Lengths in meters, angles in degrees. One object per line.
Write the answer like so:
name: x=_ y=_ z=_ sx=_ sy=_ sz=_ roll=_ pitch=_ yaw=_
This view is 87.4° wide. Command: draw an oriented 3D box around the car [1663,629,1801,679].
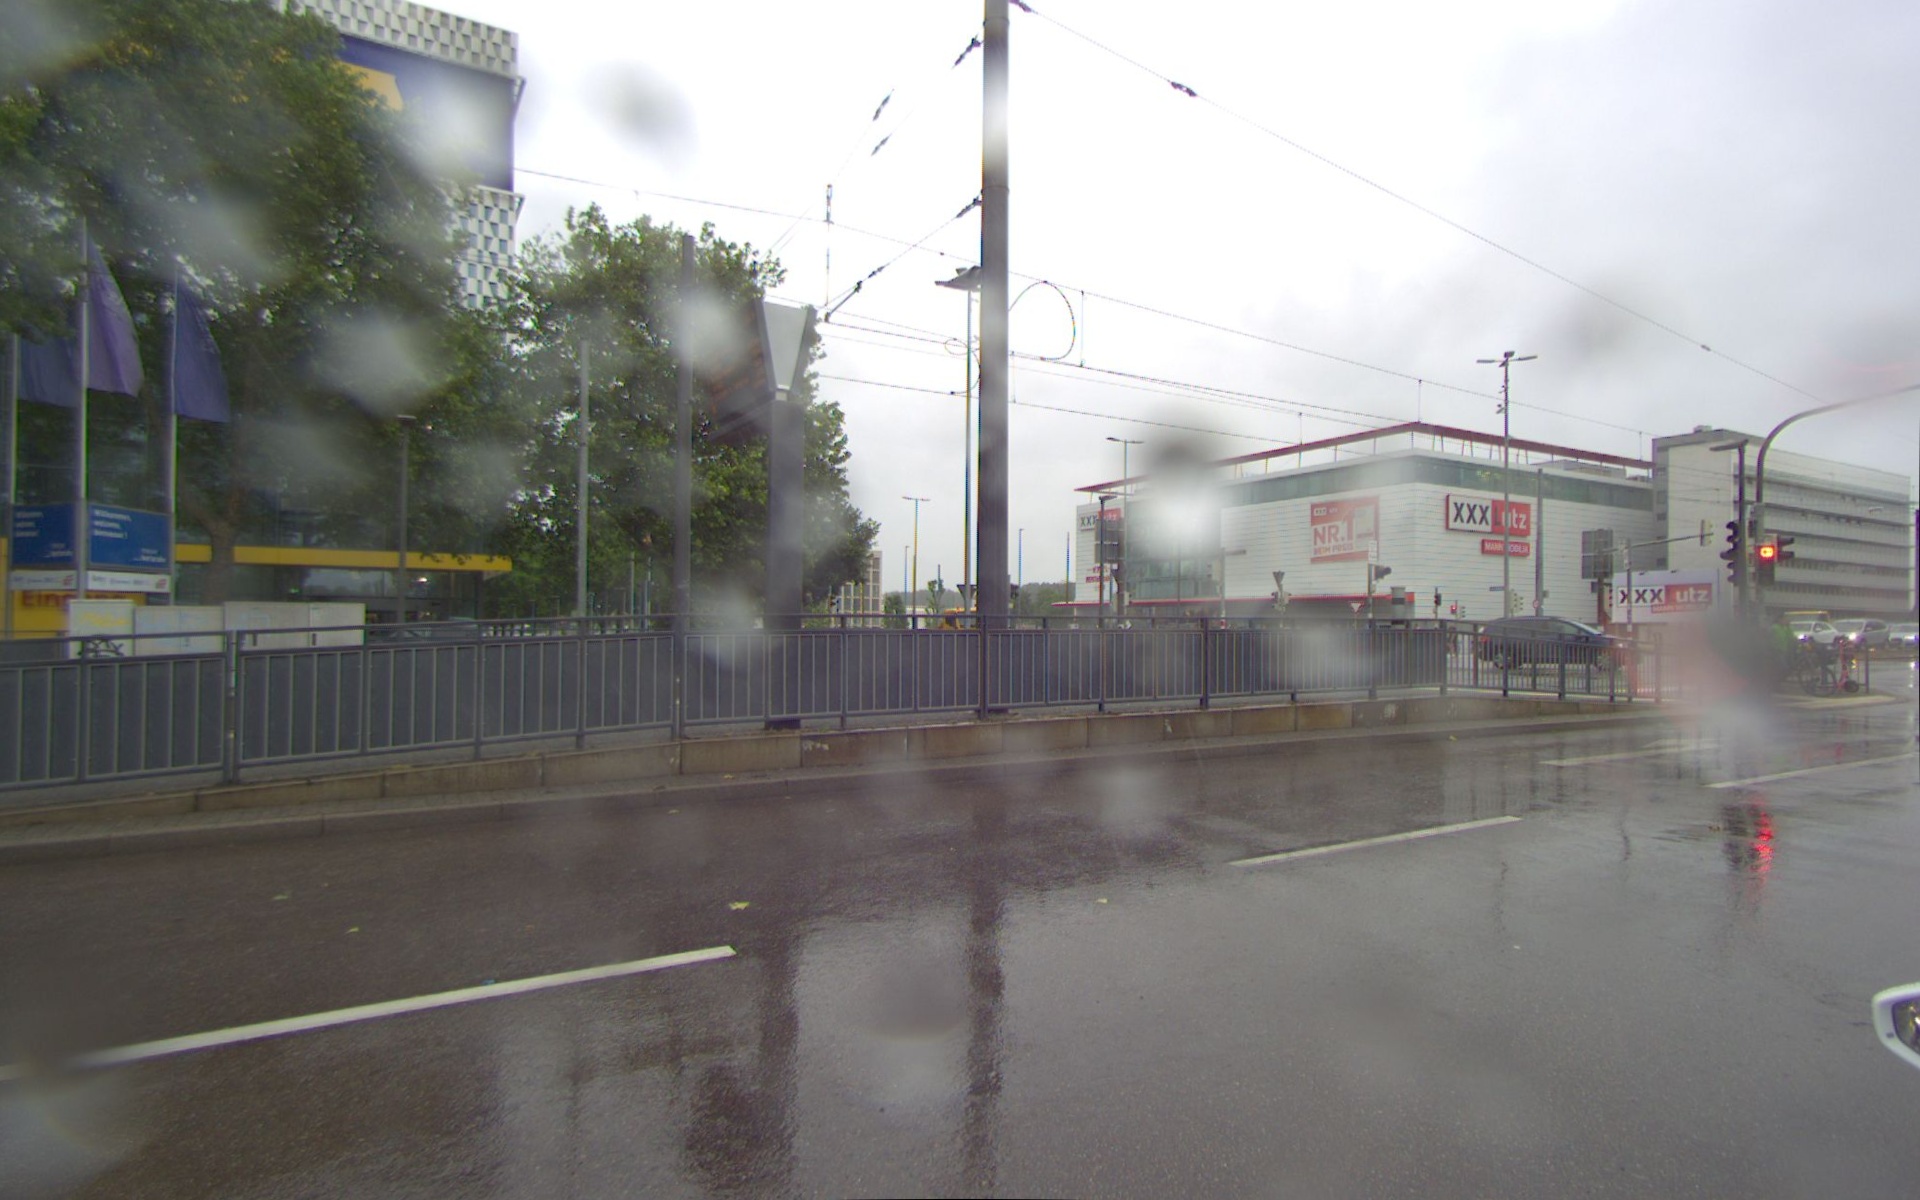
car: x=25.030 y=1.726 z=32.690 sx=3.293 sy=1.441 sz=1.466 roll=2 pitch=0 yaw=26

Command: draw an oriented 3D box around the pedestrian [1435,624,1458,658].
pedestrian: x=24.303 y=2.034 z=50.155 sx=0.914 sy=1.654 sz=0.694 roll=2 pitch=0 yaw=-42

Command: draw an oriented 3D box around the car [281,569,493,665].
car: x=-13.253 y=0.392 z=23.314 sx=3.968 sy=2.040 sz=1.977 roll=2 pitch=0 yaw=-40

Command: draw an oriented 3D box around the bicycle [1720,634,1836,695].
bicycle: x=16.695 y=1.294 z=20.539 sx=0.409 sy=1.048 sz=1.742 roll=2 pitch=3 yaw=-31

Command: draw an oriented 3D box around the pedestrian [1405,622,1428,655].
pedestrian: x=23.300 y=1.946 z=51.258 sx=0.914 sy=1.654 sz=0.694 roll=2 pitch=0 yaw=-42

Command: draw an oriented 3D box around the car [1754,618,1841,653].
car: x=39.761 y=1.691 z=47.683 sx=3.823 sy=1.512 sz=1.693 roll=2 pitch=0 yaw=-25

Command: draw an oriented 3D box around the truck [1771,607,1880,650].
truck: x=49.389 y=1.645 z=57.259 sx=7.542 sy=2.309 sz=2.341 roll=2 pitch=0 yaw=-30

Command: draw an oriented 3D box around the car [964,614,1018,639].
car: x=2.172 y=1.845 z=70.211 sx=3.723 sy=1.645 sz=2.001 roll=2 pitch=0 yaw=2

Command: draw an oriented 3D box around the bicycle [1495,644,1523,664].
bicycle: x=28.439 y=2.792 z=52.029 sx=1.688 sy=1.000 sz=0.448 roll=2 pitch=0 yaw=-30

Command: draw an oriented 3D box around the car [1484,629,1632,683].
car: x=18.684 y=1.703 z=31.461 sx=3.807 sy=1.441 sz=1.503 roll=2 pitch=0 yaw=40

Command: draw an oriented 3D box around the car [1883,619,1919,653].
car: x=51.414 y=1.964 z=53.581 sx=3.947 sy=1.722 sz=1.886 roll=2 pitch=0 yaw=-26

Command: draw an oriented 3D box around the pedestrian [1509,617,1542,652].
pedestrian: x=27.358 y=1.649 z=48.587 sx=0.996 sy=1.654 sz=0.917 roll=2 pitch=0 yaw=-19

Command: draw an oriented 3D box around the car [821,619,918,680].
car: x=-3.252 y=1.749 z=36.955 sx=1.961 sy=2.040 sz=3.999 roll=2 pitch=0 yaw=21

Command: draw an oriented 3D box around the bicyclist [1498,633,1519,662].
bicyclist: x=28.480 y=2.466 z=52.136 sx=0.639 sy=1.483 sz=0.681 roll=2 pitch=0 yaw=-29

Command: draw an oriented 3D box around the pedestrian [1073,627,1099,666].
pedestrian: x=5.134 y=1.891 z=40.993 sx=0.863 sy=1.557 sz=0.560 roll=2 pitch=0 yaw=-31

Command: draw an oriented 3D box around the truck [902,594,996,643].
truck: x=-0.790 y=1.122 z=62.857 sx=2.612 sy=2.853 sz=7.084 roll=2 pitch=0 yaw=-31

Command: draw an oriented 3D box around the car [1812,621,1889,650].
car: x=44.901 y=1.792 z=50.647 sx=3.780 sy=1.354 sz=1.582 roll=2 pitch=0 yaw=-26
